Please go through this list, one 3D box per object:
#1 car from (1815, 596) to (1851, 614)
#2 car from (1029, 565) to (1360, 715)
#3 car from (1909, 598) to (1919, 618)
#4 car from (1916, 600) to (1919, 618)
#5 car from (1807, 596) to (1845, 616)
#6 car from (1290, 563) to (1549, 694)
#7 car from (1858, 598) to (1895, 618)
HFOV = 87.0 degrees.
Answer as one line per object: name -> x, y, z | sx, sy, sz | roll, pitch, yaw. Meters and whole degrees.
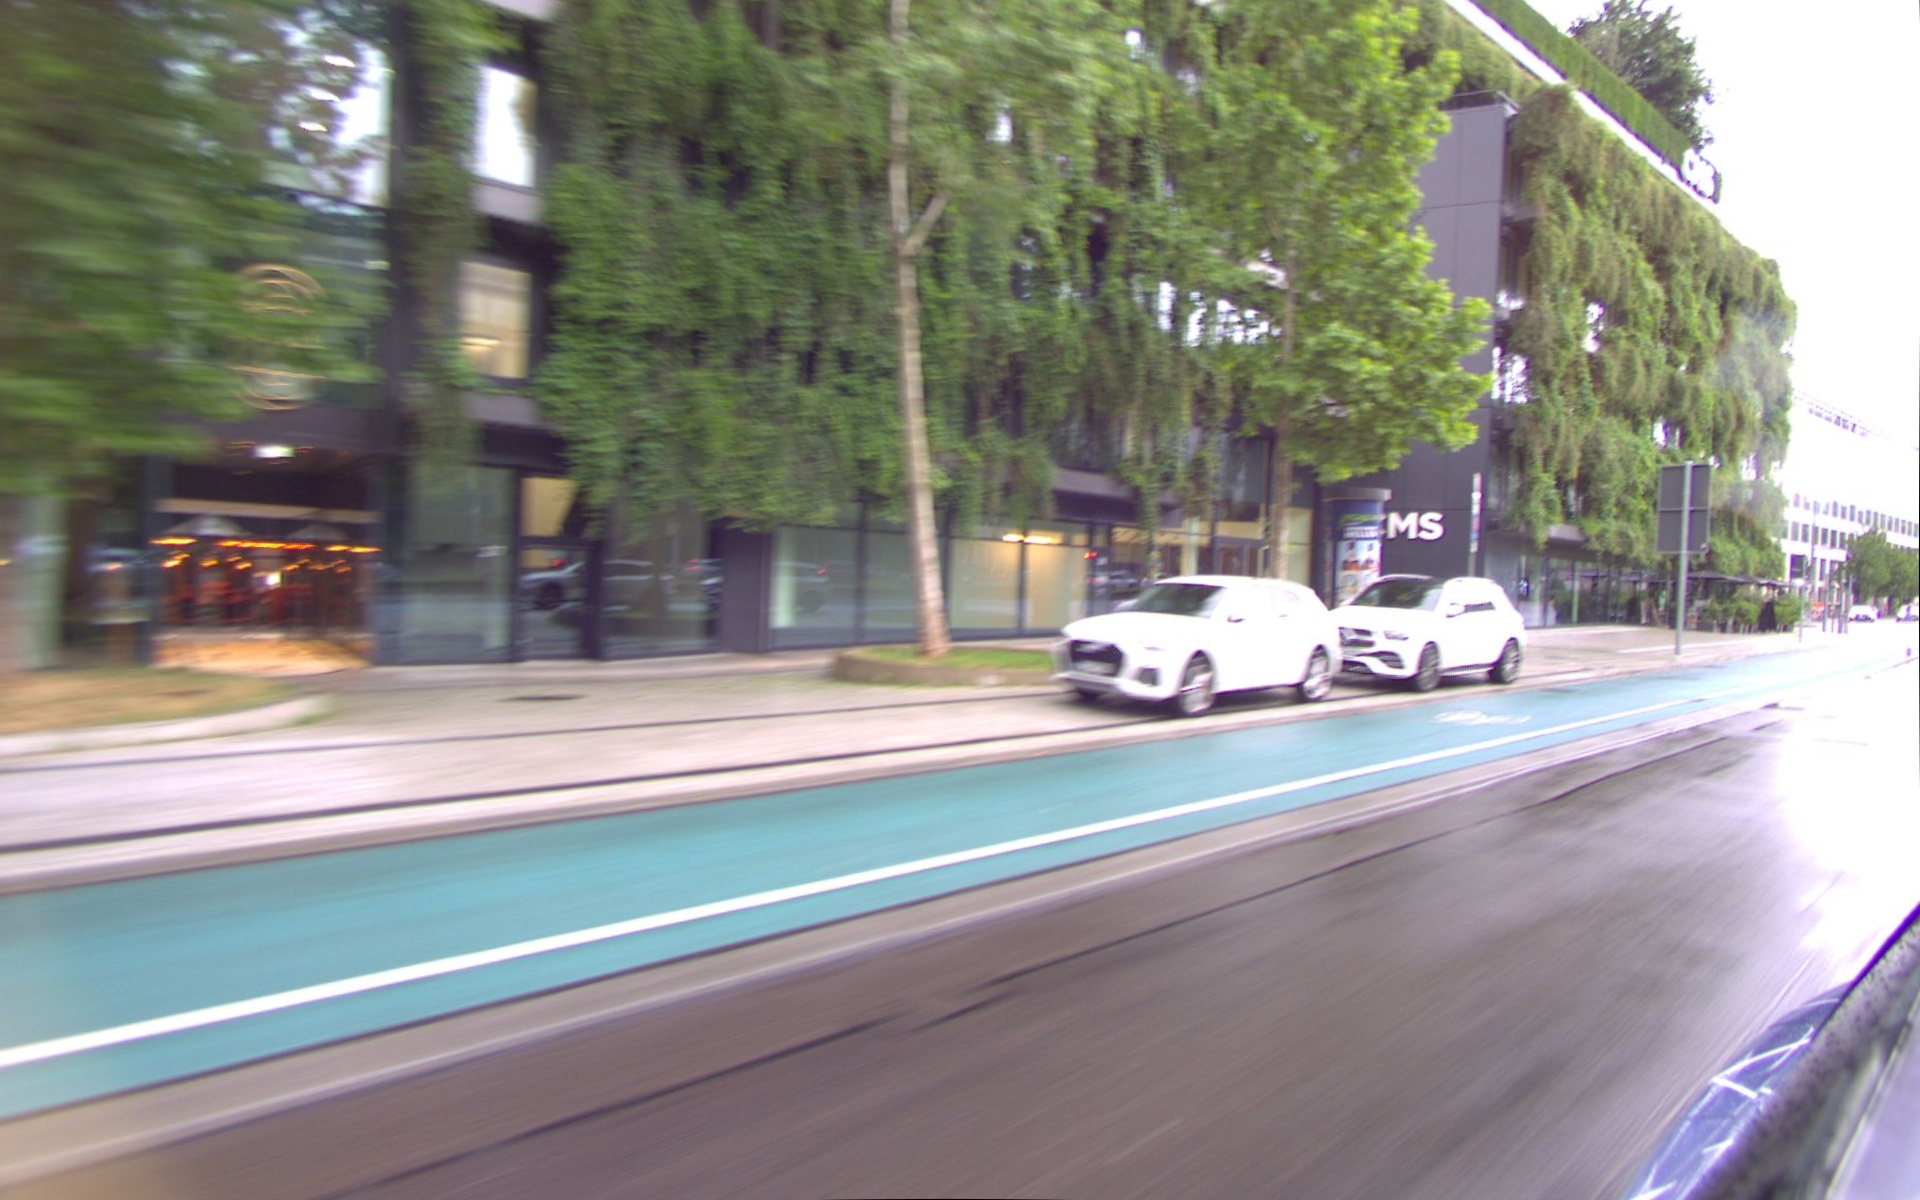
car -> 79.474, 0.448, 92.102 | 4.588, 1.571, 1.738 | 0, 1, -40
car -> 3.236, 0.431, 13.367 | 4.702, 1.653, 1.847 | 1, 1, -41
car -> 78.100, 0.622, 81.642 | 4.588, 1.571, 1.738 | 0, 1, -40
car -> 83.603, 0.797, 86.903 | 4.588, 1.571, 1.738 | 0, 1, -40
car -> 73.923, 0.515, 86.386 | 4.588, 1.571, 1.738 | 0, 1, -40
car -> 7.818, 0.415, 16.993 | 5.001, 1.860, 1.848 | 1, 2, -39
car -> 77.891, 0.649, 85.966 | 4.588, 1.572, 1.738 | 0, 1, -40
